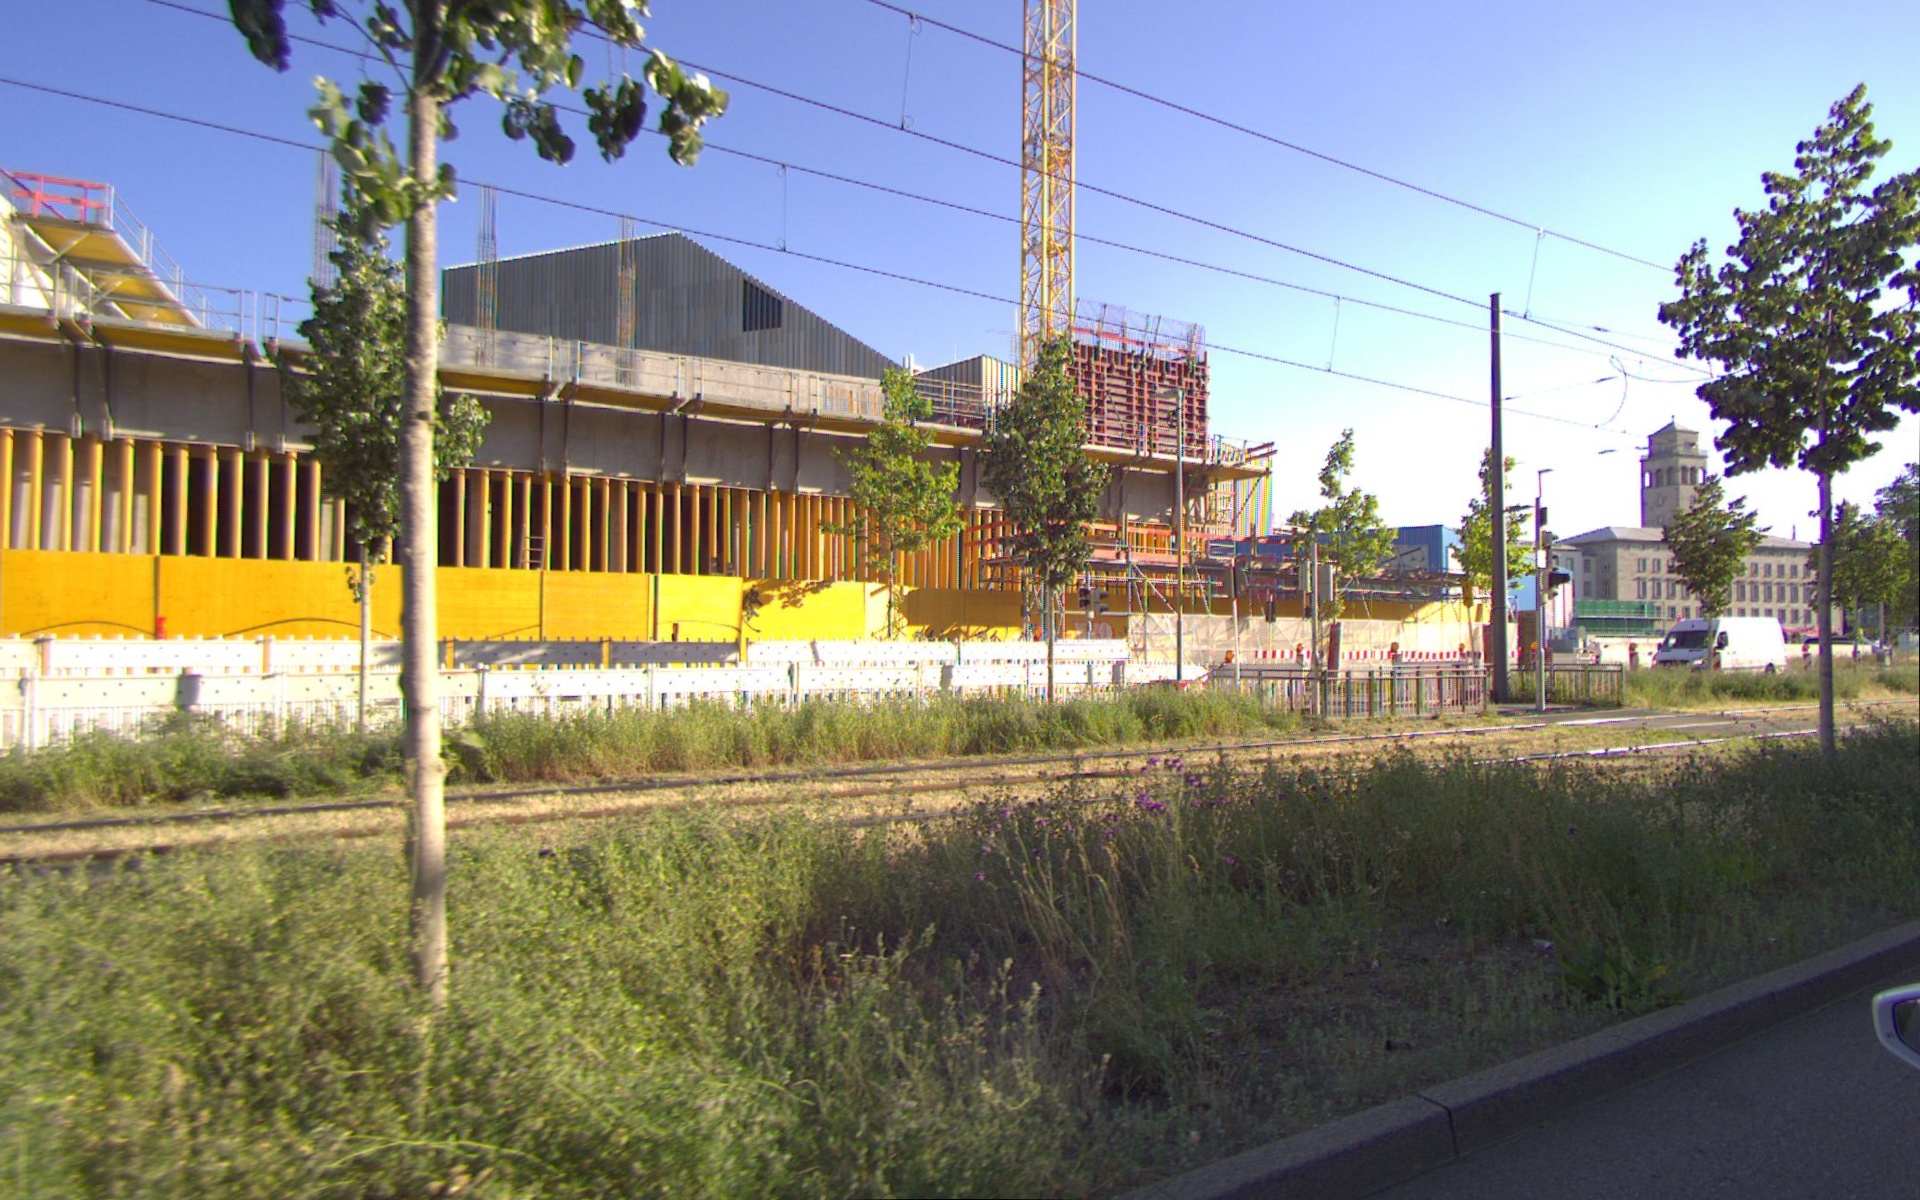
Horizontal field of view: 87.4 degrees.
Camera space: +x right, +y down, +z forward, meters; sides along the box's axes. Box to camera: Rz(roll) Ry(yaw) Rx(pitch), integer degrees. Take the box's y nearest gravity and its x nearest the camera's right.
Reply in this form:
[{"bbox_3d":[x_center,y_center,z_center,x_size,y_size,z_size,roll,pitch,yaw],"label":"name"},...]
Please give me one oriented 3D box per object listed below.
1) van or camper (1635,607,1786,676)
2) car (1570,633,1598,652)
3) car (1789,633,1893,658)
[{"bbox_3d":[29.813,1.635,39.815,7.118,2.542,2.211,1,-4,-31],"label":"van or camper"},{"bbox_3d":[54.745,3.718,88.097,1.392,1.657,4.203,-1,-2,41],"label":"car"},{"bbox_3d":[63.136,3.253,72.097,2.096,1.739,5.213,1,-2,-24],"label":"car"}]
